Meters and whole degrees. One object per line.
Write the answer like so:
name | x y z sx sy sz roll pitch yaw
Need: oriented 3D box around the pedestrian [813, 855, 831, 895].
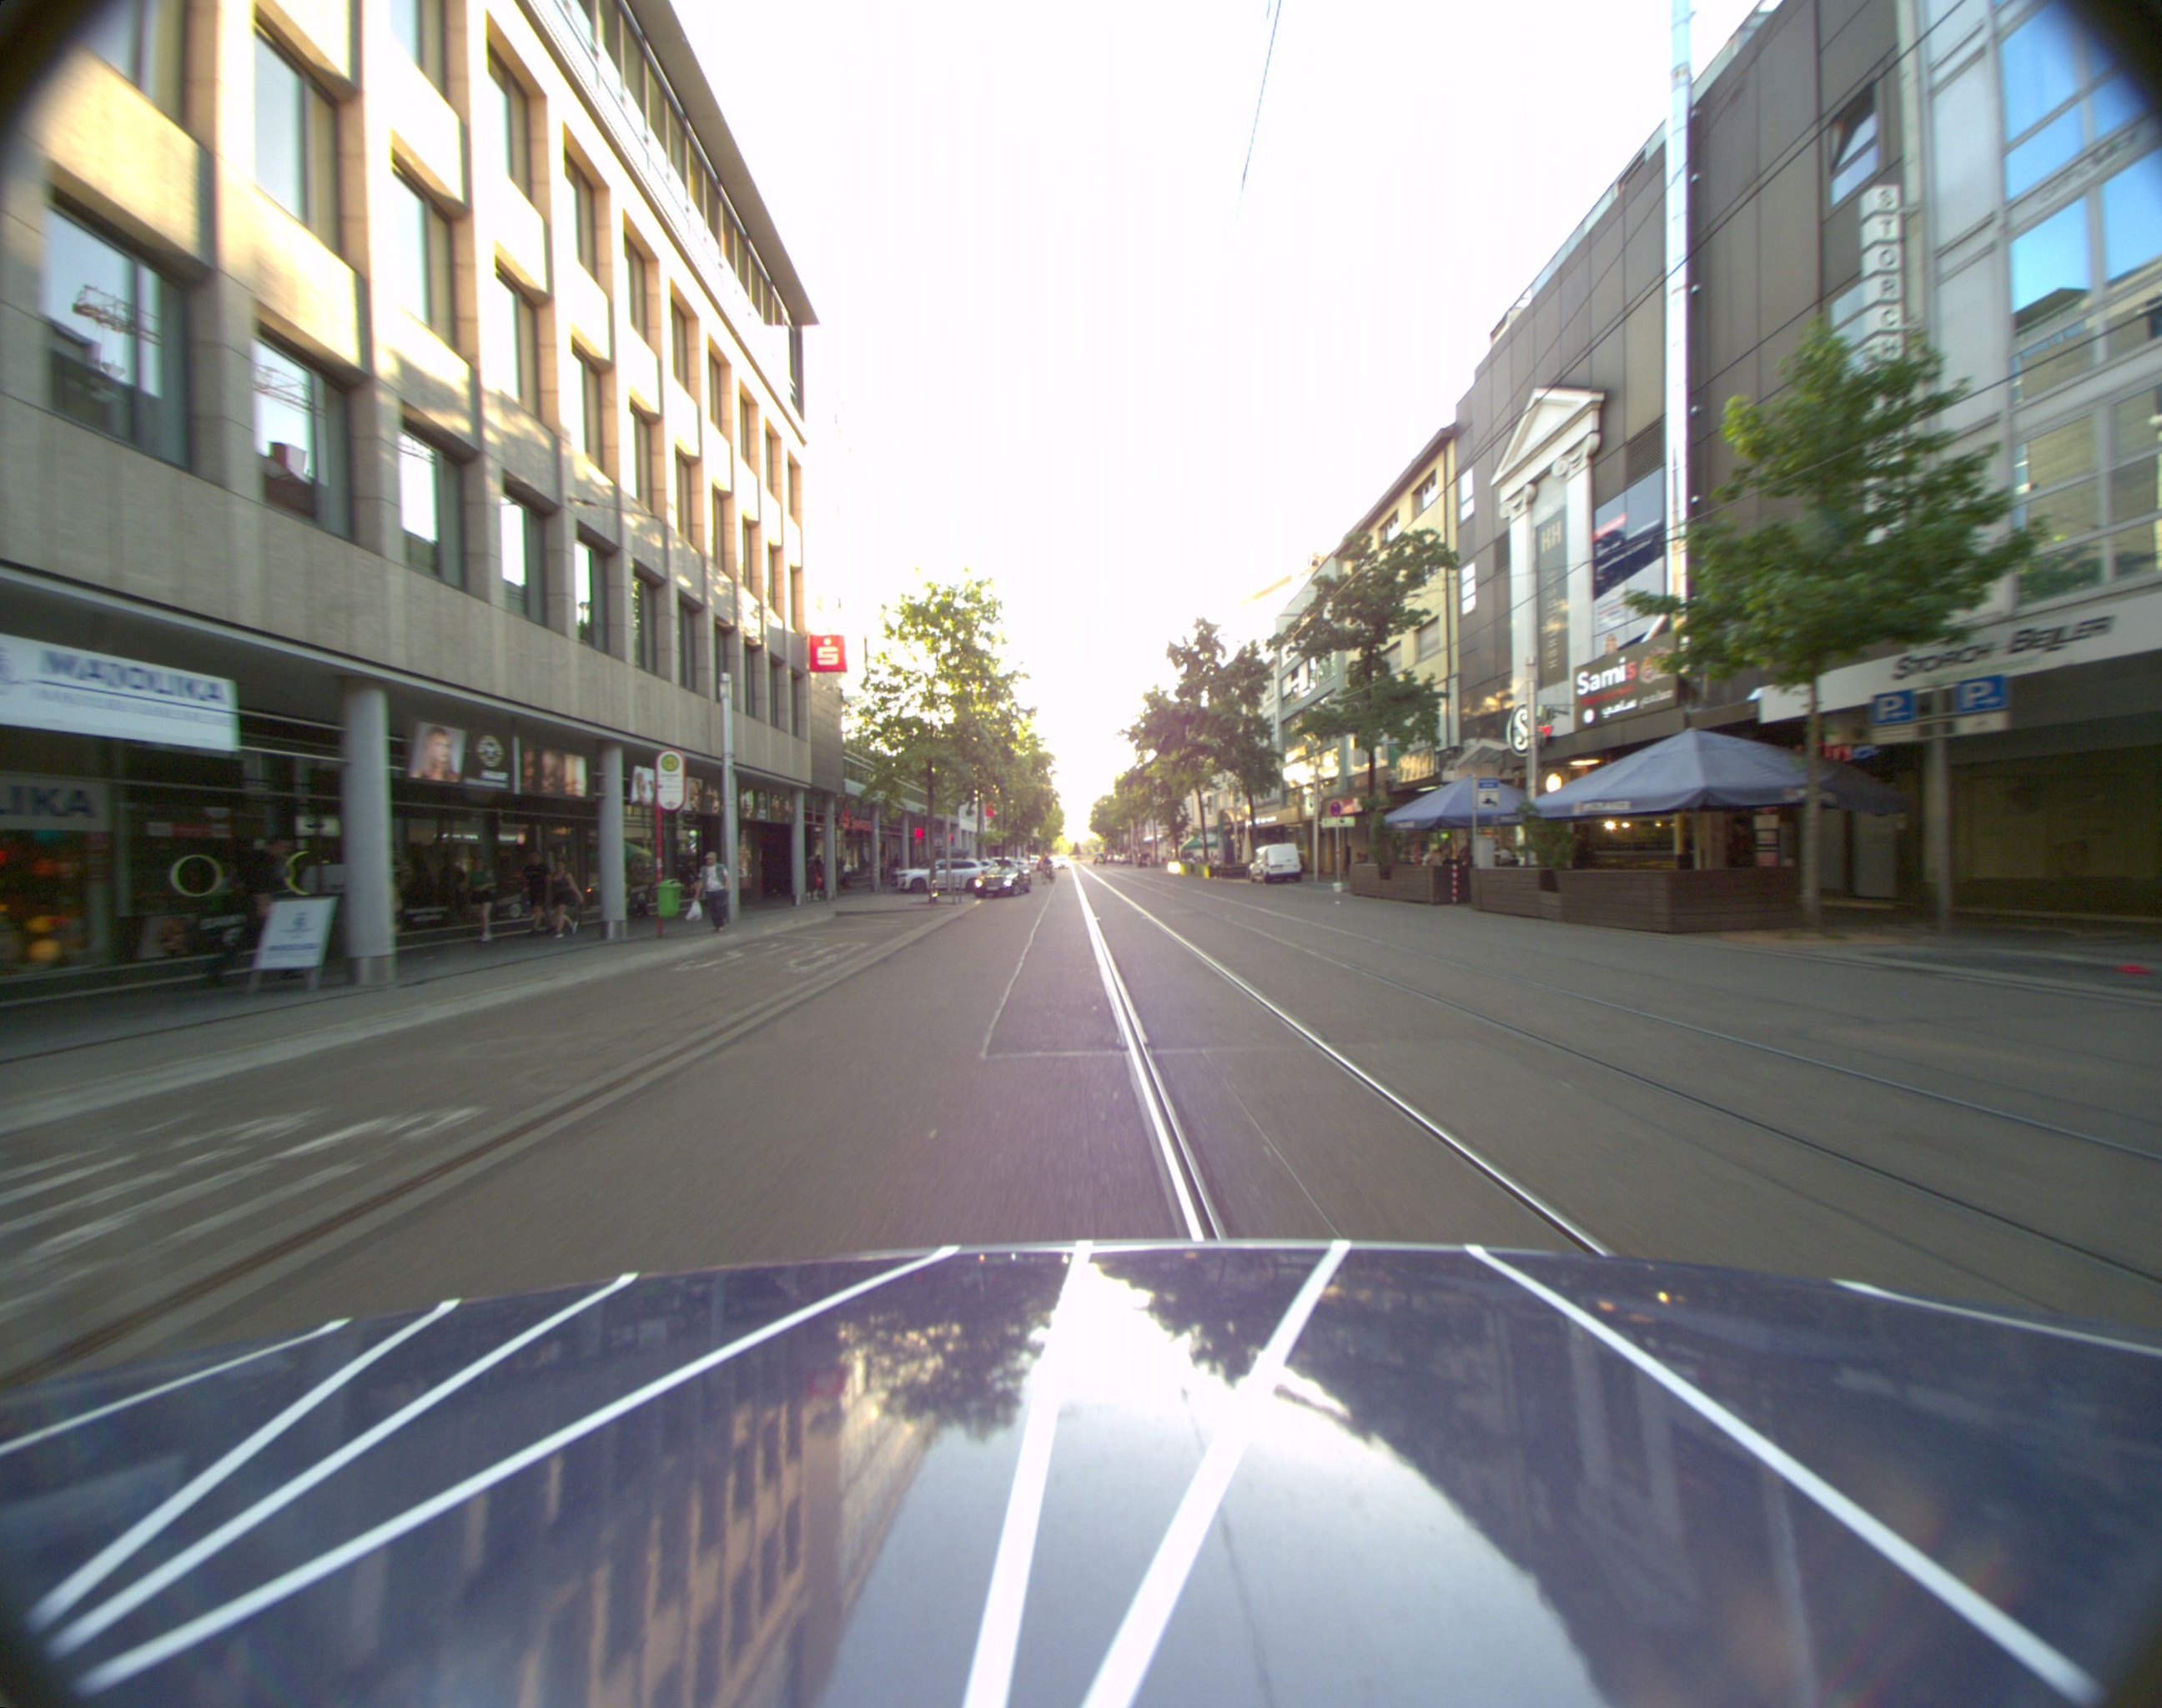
pedestrian | -11.670 0.927 34.244 0.558 1.762 0.628 -1 1 0

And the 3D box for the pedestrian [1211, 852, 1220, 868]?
pedestrian | 12.481 0.583 70.660 0.650 1.451 0.650 -1 1 -2

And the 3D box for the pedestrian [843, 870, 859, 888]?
pedestrian | -11.894 1.282 39.344 0.627 0.876 0.558 -1 1 -1

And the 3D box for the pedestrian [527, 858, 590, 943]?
pedestrian | -10.397 0.908 15.141 0.682 1.634 0.788 -1 1 -1

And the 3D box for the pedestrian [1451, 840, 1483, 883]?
pedestrian | 13.590 0.248 26.746 0.662 1.426 0.643 -6 2 0

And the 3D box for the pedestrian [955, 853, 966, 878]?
pedestrian | -8.140 0.774 51.321 0.618 1.681 0.628 -1 1 0

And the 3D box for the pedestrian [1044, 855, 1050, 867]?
pedestrian | -4.078 0.845 91.160 0.650 1.451 0.649 -2 1 -17

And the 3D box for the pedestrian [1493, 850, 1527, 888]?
pedestrian | 13.761 0.465 24.359 0.642 1.150 0.665 -4 1 -3

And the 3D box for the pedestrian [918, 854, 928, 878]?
pedestrian | -11.444 0.863 55.128 0.558 1.681 0.628 -1 1 0

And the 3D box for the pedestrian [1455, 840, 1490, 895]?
pedestrian | 11.386 0.392 22.107 0.658 1.543 0.565 -4 1 -2

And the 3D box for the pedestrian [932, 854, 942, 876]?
pedestrian | -10.772 0.821 57.010 0.618 1.681 0.628 -1 1 0

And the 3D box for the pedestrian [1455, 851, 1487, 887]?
pedestrian | 12.976 0.486 25.284 0.642 1.150 0.665 -4 1 -3

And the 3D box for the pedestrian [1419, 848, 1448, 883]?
pedestrian | 13.127 0.408 28.290 0.642 1.221 0.665 -6 1 -3

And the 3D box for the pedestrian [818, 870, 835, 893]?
pedestrian | -11.827 1.273 35.291 0.628 1.030 0.558 -1 1 -9

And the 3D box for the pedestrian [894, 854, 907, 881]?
pedestrian | -11.422 0.830 48.070 0.629 1.681 0.557 -1 1 -34

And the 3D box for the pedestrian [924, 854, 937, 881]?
pedestrian | -9.392 0.858 47.384 0.618 1.681 0.628 -1 1 0

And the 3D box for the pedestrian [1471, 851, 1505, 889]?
pedestrian | 12.951 0.496 24.209 0.642 1.150 0.665 -4 1 -3

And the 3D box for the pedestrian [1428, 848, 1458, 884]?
pedestrian | 13.053 0.419 27.389 0.642 1.221 0.665 -6 1 -3

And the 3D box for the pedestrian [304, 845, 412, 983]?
pedestrian | -10.198 0.817 10.751 0.708 1.878 0.796 -1 1 0

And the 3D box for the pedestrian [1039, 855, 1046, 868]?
pedestrian | -4.446 0.882 88.573 0.650 1.451 0.649 -2 1 -17

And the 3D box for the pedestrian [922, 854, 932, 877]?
pedestrian | -11.541 0.850 57.009 0.558 1.681 0.628 -1 1 0

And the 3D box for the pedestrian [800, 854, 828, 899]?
pedestrian | -9.917 0.841 28.209 0.749 1.634 0.741 -1 1 -1

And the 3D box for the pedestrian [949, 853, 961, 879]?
pedestrian | -8.350 0.792 50.319 0.618 1.681 0.628 -1 1 0

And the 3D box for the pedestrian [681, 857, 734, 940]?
pedestrian | -7.452 0.869 15.187 0.670 1.579 0.638 -3 1 -1

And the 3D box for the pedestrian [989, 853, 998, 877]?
pedestrian | -6.240 0.759 54.229 0.618 1.681 0.628 -1 1 -5

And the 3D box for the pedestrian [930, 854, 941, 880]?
pedestrian | -9.584 0.841 50.052 0.618 1.681 0.628 -1 1 0

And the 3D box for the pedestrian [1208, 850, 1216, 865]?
pedestrian | 12.603 0.302 73.179 0.650 1.451 0.650 -1 1 -2

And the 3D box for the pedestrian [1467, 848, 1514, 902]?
pedestrian | 11.066 0.553 20.550 0.766 1.393 0.746 -4 1 -1

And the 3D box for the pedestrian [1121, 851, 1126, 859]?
pedestrian | 7.243 0.197 129.769 0.650 1.451 0.650 -1 1 -2

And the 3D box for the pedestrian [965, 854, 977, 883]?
pedestrian | -6.863 0.908 47.355 0.618 1.789 0.628 -1 1 0

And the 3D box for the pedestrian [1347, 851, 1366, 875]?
pedestrian | 13.822 0.463 38.068 0.650 1.168 0.650 -2 1 -6
